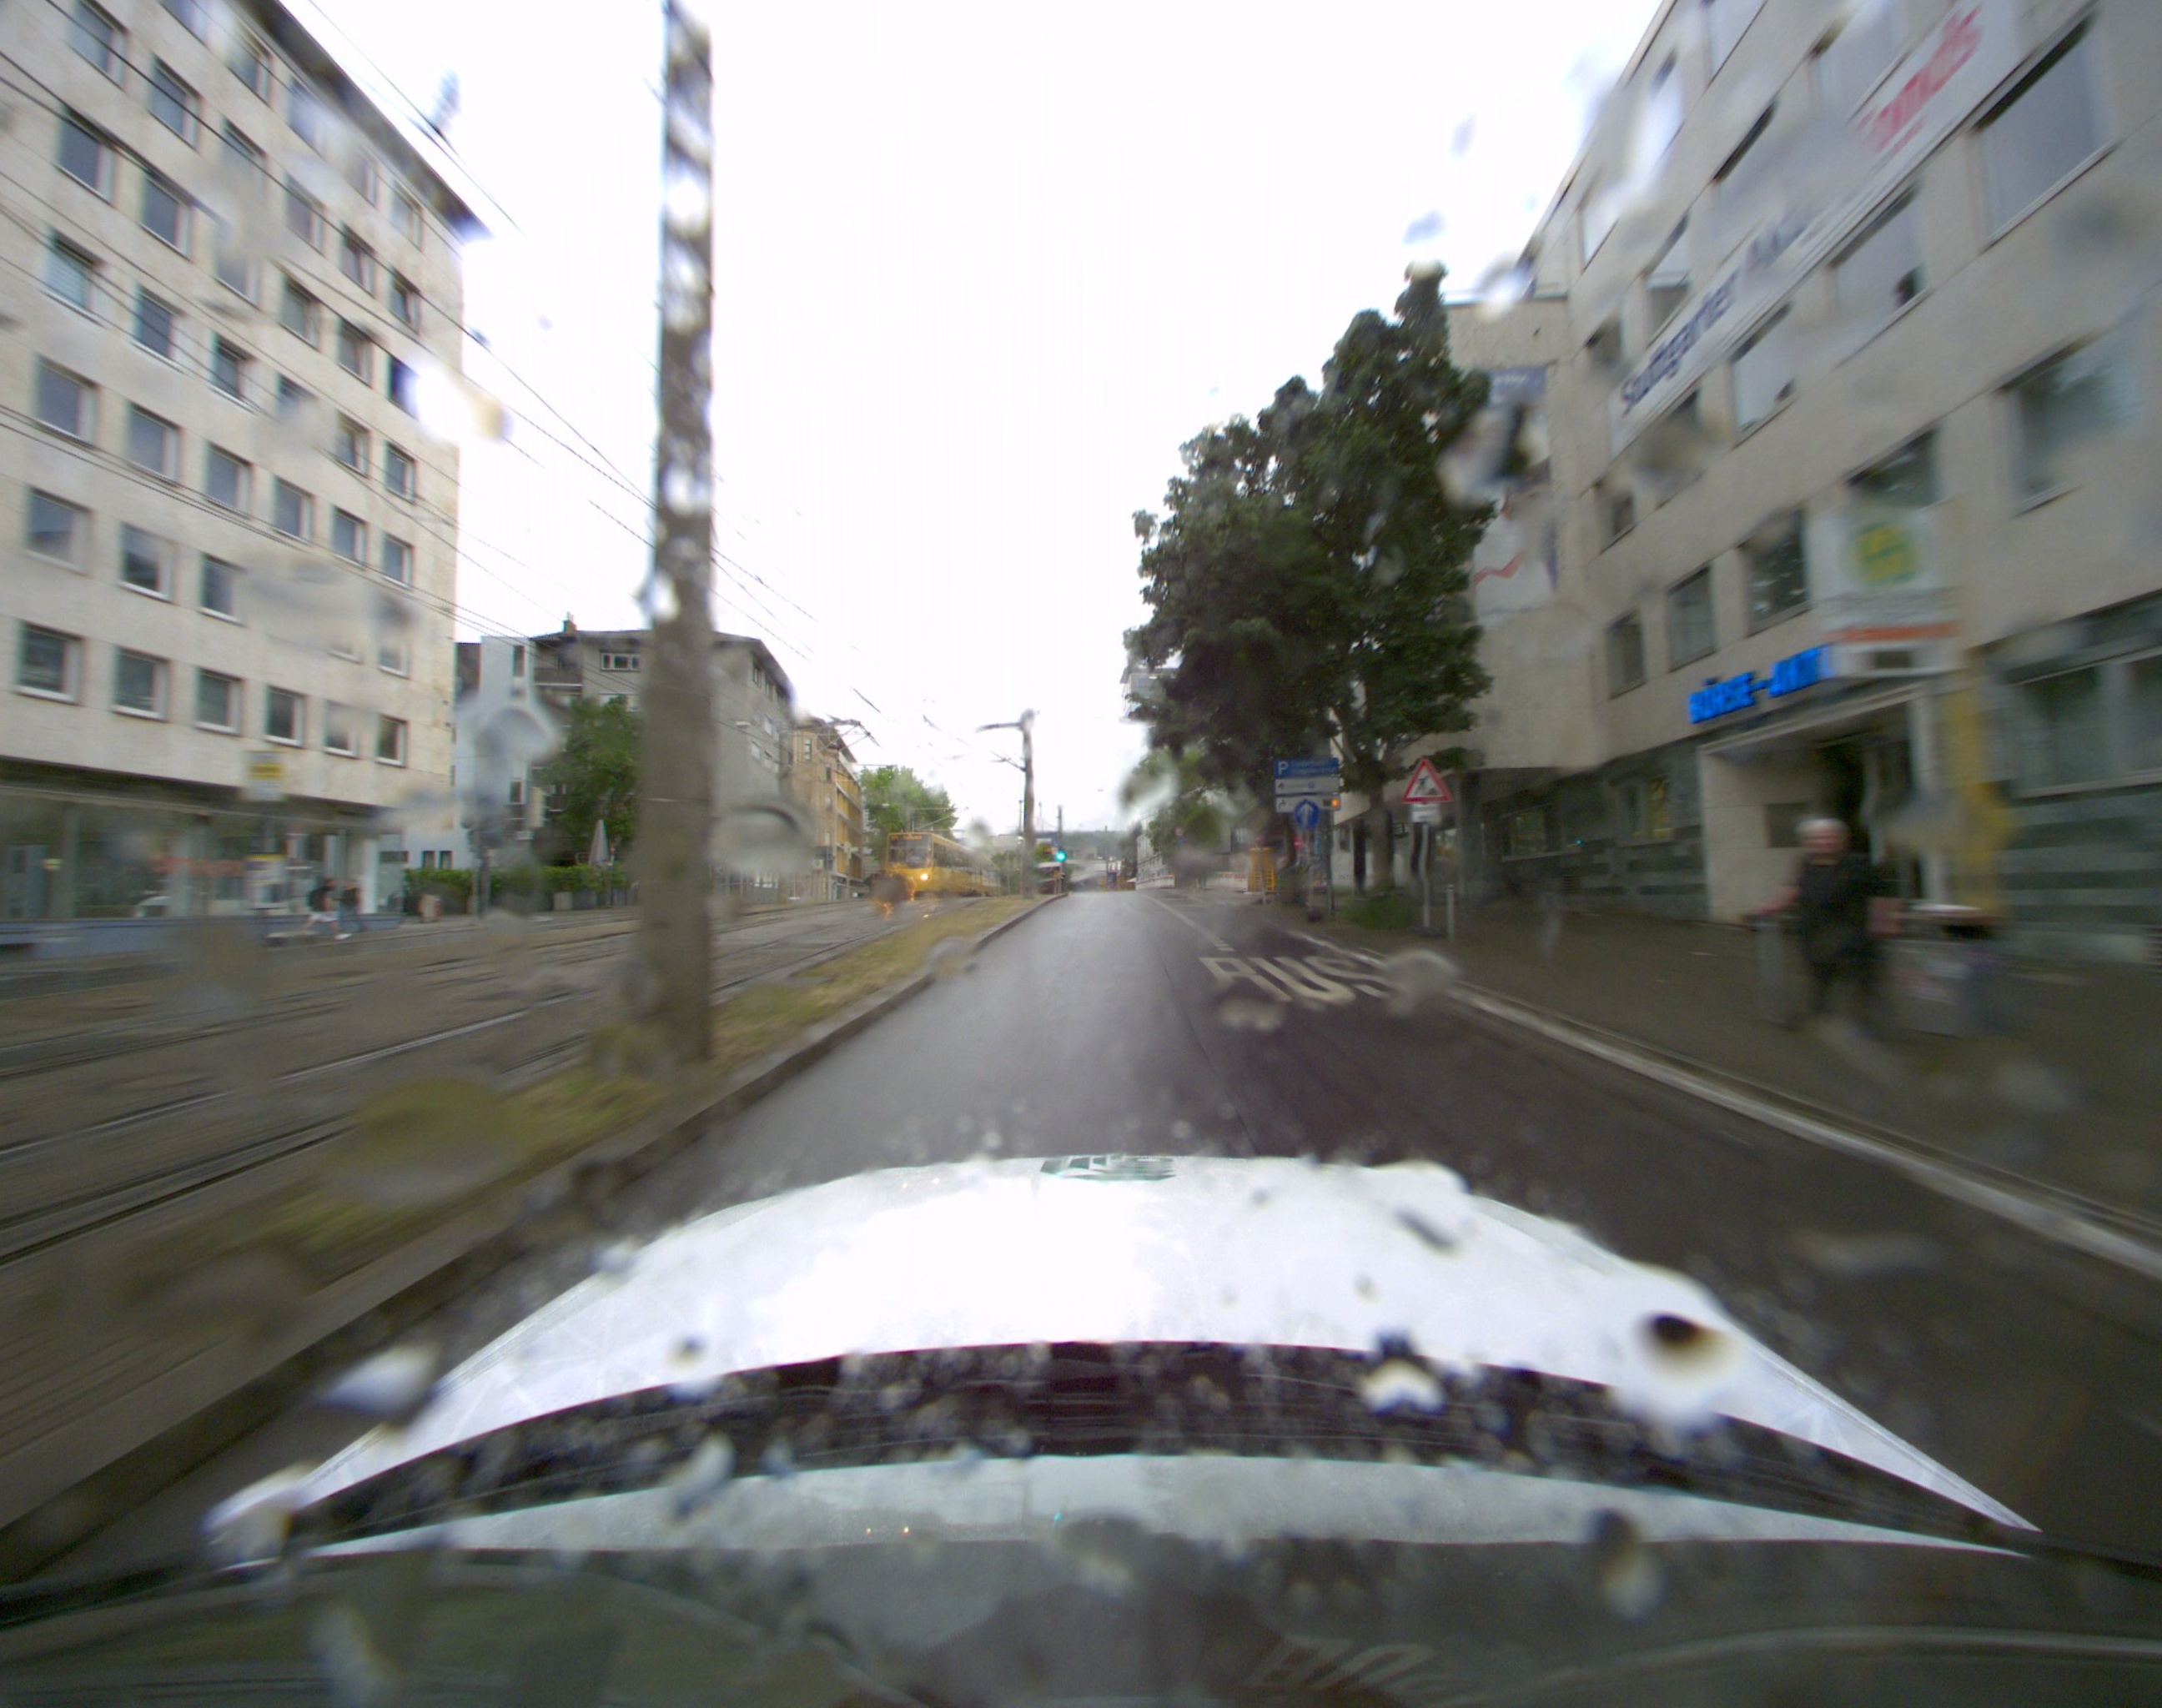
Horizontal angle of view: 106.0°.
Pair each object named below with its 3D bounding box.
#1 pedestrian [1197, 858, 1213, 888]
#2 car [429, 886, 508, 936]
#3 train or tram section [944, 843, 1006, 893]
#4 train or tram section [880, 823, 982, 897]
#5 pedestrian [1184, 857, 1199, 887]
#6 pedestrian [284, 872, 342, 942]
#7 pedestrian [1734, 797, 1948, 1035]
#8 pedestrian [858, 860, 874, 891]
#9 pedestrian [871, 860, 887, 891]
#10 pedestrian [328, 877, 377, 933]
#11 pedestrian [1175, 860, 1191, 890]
[{"bbox_3d":[7.408,1.138,48.636,0.698,1.785,1.066,-1,-1,-2],"label":"pedestrian"},{"bbox_3d":[-25.557,2.303,34.162,2.006,1.829,5.183,0,-1,-30],"label":"car"},{"bbox_3d":[-8.679,1.389,69.558,2.737,3.697,18.964,-1,-2,0],"label":"train or tram section"},{"bbox_3d":[-8.752,0.649,50.603,2.737,3.697,18.964,-1,-2,0],"label":"train or tram section"},{"bbox_3d":[6.646,1.078,49.150,0.698,1.815,0.976,-1,-1,-2],"label":"pedestrian"},{"bbox_3d":[-19.676,1.343,20.891,0.594,1.738,0.909,-2,-1,0],"label":"pedestrian"},{"bbox_3d":[5.636,0.433,6.107,0.662,1.626,0.968,-1,-1,1],"label":"pedestrian"},{"bbox_3d":[-12.773,1.269,48.347,0.730,1.790,0.696,-2,-1,0],"label":"pedestrian"},{"bbox_3d":[-11.955,1.243,48.153,0.730,1.790,0.696,-2,-1,0],"label":"pedestrian"},{"bbox_3d":[-20.860,1.444,23.320,0.675,1.548,0.776,-2,-1,0],"label":"pedestrian"},{"bbox_3d":[5.994,1.239,47.951,0.734,1.730,1.118,-1,-1,-2],"label":"pedestrian"}]
